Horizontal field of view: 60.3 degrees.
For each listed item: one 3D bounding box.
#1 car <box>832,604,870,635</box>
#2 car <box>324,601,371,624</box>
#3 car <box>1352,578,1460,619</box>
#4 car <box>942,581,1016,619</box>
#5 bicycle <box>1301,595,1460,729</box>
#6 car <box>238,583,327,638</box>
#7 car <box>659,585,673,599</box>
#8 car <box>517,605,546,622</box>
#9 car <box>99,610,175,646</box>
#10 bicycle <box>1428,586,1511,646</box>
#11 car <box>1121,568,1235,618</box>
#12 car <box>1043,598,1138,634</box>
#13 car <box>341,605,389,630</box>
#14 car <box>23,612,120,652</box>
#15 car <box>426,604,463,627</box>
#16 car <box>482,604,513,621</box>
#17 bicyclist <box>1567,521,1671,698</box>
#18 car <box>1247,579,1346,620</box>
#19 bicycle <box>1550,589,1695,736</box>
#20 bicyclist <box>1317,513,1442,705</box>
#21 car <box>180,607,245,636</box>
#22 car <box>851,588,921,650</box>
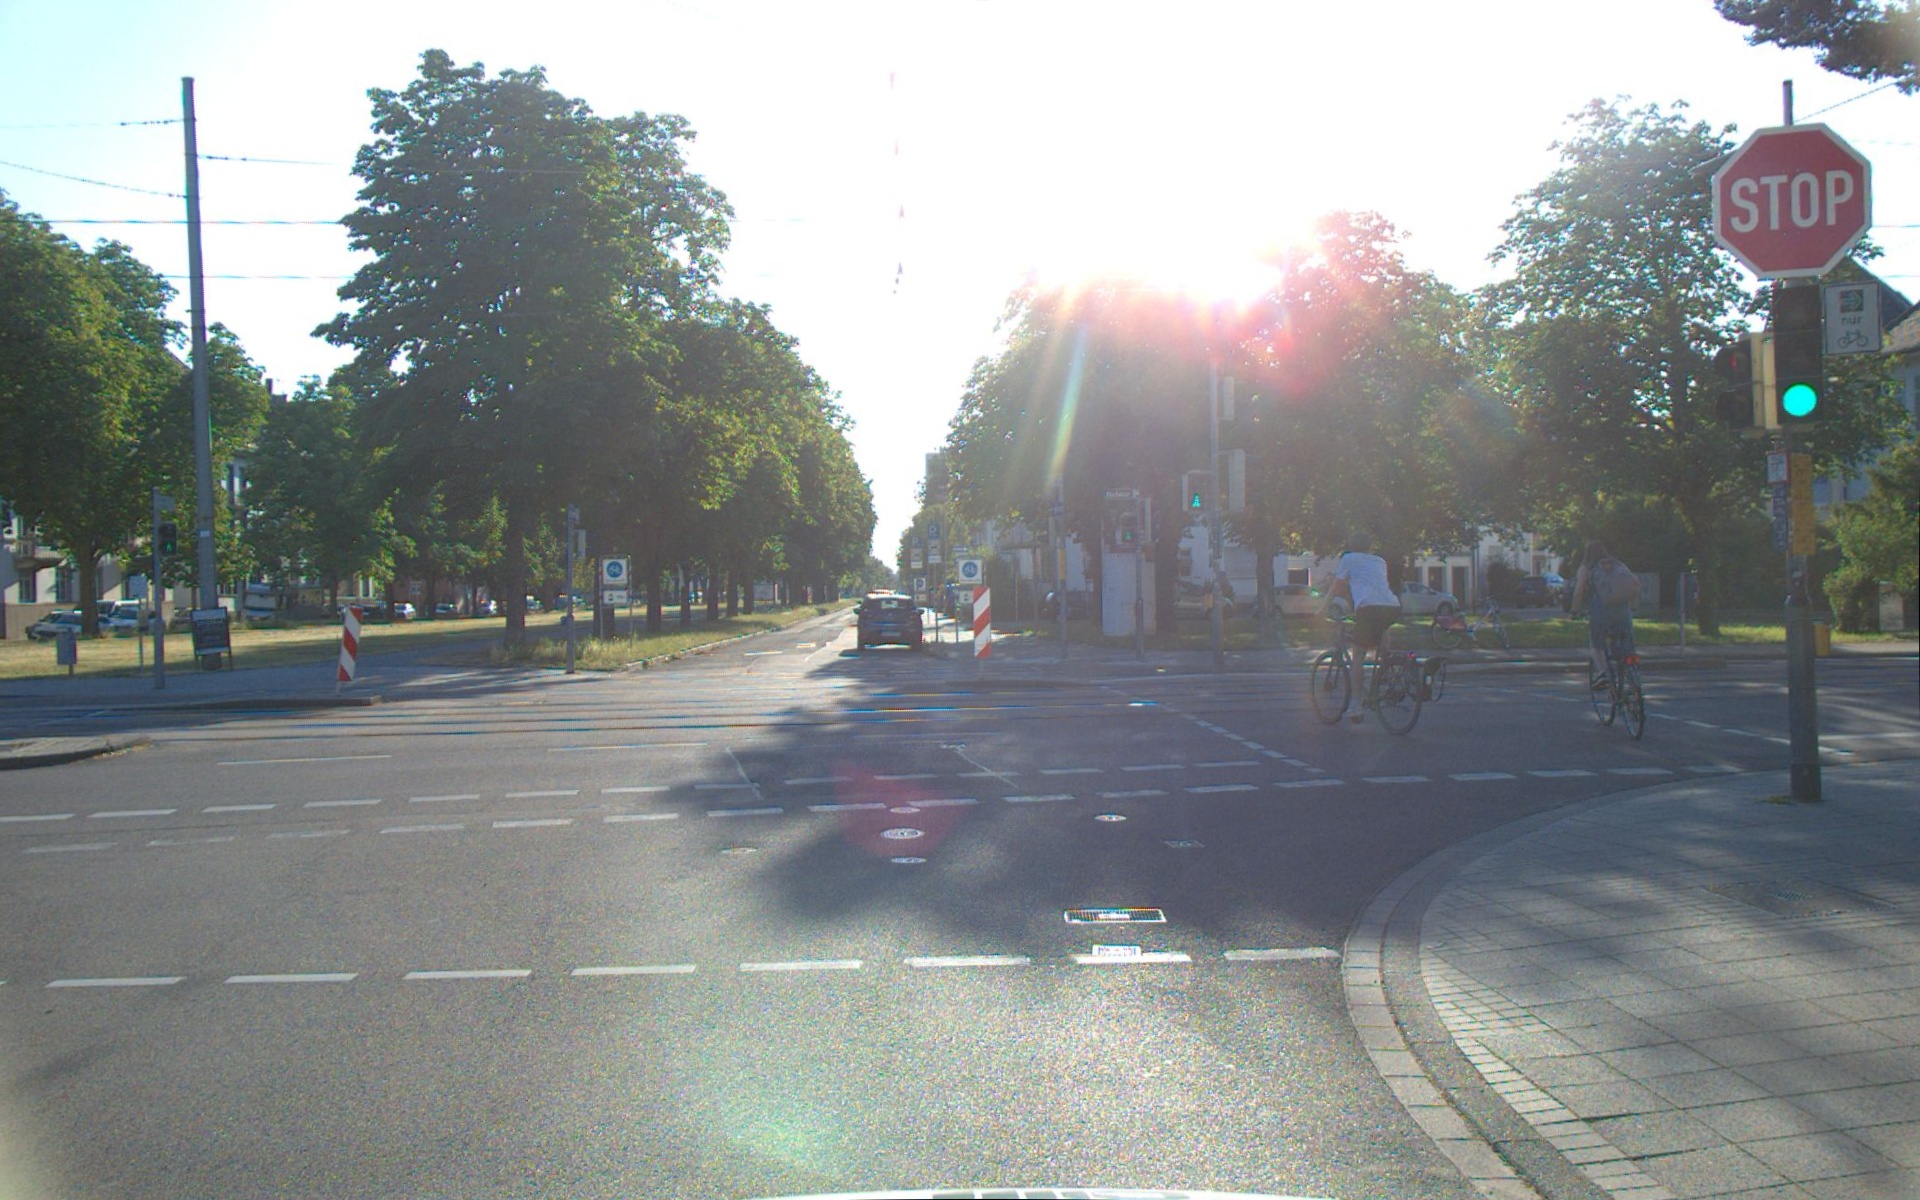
[{"bbox_3d":[-5.092,0.913,77.761,1.675,1.383,4.201,1,-1,-2],"label":"car"},{"bbox_3d":[-46.536,0.933,125.772,1.953,1.688,4.373,1,-1,-1],"label":"car"},{"bbox_3d":[17.733,-0.053,65.820,3.847,1.550,1.521,0,-2,-8],"label":"car"},{"bbox_3d":[1.062,0.016,93.239,3.911,1.854,1.757,-2,-6,-7],"label":"car"},{"bbox_3d":[4.006,0.565,15.916,0.563,1.204,1.896,1,-1,-18],"label":"bicycle"},{"bbox_3d":[-40.961,0.589,100.291,2.344,3.185,7.849,1,0,-2],"label":"car"},{"bbox_3d":[-45.000,-1.225,253.064,1.621,1.972,3.565,1,-2,-3],"label":"car"},{"bbox_3d":[-43.149,1.349,166.524,1.982,1.688,3.982,1,-1,-2],"label":"car"},{"bbox_3d":[-40.152,1.337,80.798,1.760,1.581,4.416,1,0,-4],"label":"car"},{"bbox_3d":[10.083,0.313,32.735,1.490,1.108,0.468,-1,3,6],"label":"bicycle"},{"bbox_3d":[8.570,-0.271,65.378,4.157,1.908,2.029,-1,-1,-3],"label":"car"},{"bbox_3d":[5.656,0.703,71.956,3.907,1.472,1.715,-1,-1,-3],"label":"car"},{"bbox_3d":[-41.621,1.206,115.772,1.841,1.703,4.313,1,-1,-2],"label":"car"},{"bbox_3d":[-40.117,1.431,74.793,1.953,1.688,4.569,1,-1,-1],"label":"car"},{"bbox_3d":[-42.348,1.256,135.940,1.775,1.812,4.120,1,-1,-2],"label":"car"},{"bbox_3d":[-48.065,1.336,171.926,1.953,1.688,4.354,1,-1,-1],"label":"car"},{"bbox_3d":[6.112,0.087,15.373,0.697,1.590,0.894,1,-1,8],"label":"bicyclist"},{"bbox_3d":[13.266,-0.015,65.253,3.487,1.542,1.602,-1,-1,-8],"label":"car"},{"bbox_3d":[6.134,0.539,15.423,0.481,1.204,1.964,1,3,-2],"label":"bicycle"},{"bbox_3d":[3.998,0.093,15.805,0.802,1.762,0.889,1,-1,-19],"label":"bicyclist"},{"bbox_3d":[-45.980,1.320,101.866,1.953,1.688,4.569,1,-1,-1],"label":"car"},{"bbox_3d":[-1.930,0.514,44.235,1.690,1.537,4.539,1,-1,-1],"label":"car"}]
